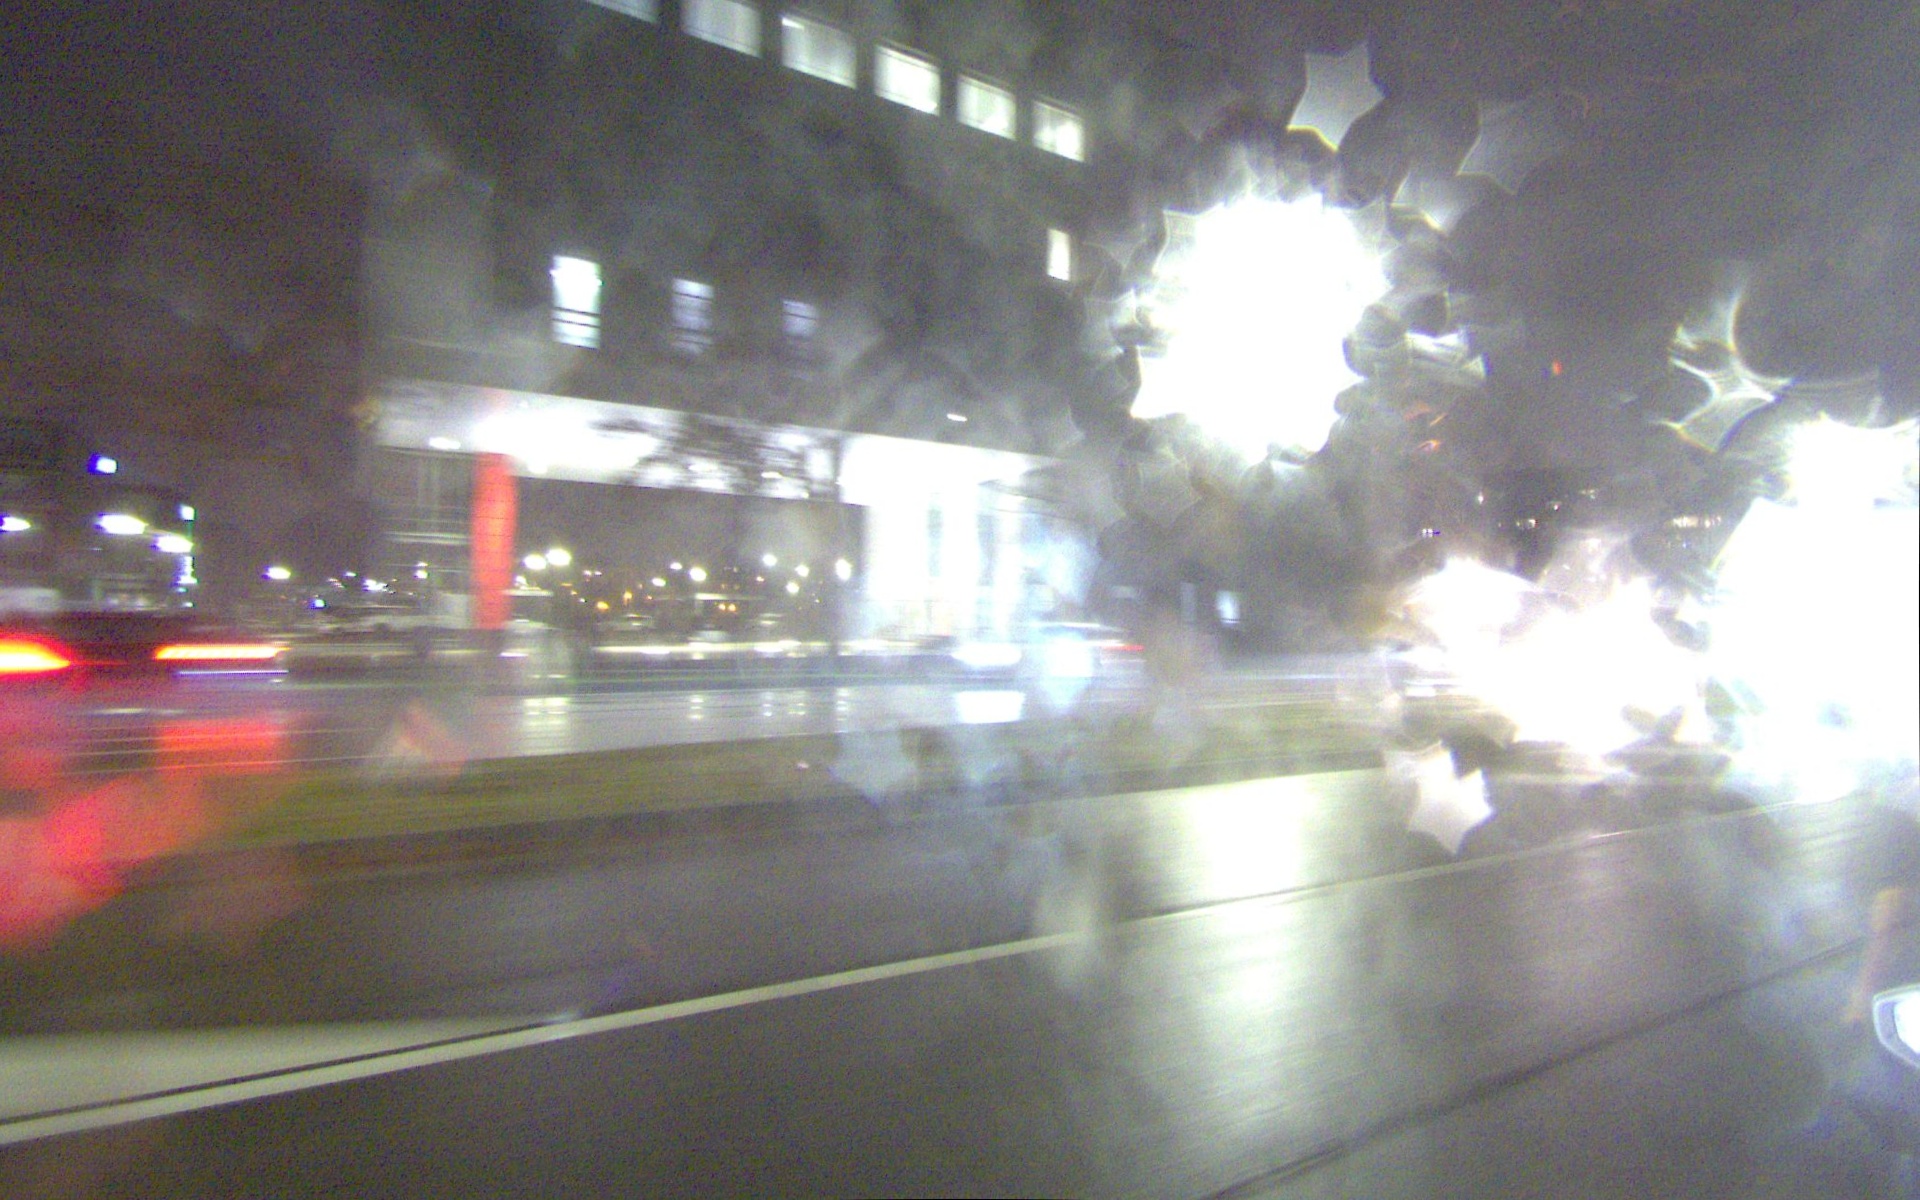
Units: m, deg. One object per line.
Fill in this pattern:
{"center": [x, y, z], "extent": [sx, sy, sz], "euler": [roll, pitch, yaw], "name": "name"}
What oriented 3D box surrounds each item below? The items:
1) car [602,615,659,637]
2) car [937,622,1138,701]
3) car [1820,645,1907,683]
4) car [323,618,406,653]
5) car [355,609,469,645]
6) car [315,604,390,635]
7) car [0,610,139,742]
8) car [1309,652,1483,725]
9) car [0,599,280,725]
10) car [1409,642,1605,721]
{"center": [-26.279, 2.089, 80.036], "extent": [3.956, 1.595, 1.893], "euler": [2, 0, -32], "name": "car"}
{"center": [1.804, 1.364, 23.037], "extent": [4.314, 1.614, 1.834], "euler": [2, 0, -30], "name": "car"}
{"center": [44.789, 3.130, 49.801], "extent": [4.497, 1.706, 2.013], "euler": [2, 0, -32], "name": "car"}
{"center": [-33.733, 2.030, 56.965], "extent": [3.955, 1.840, 1.983], "euler": [2, 0, -32], "name": "car"}
{"center": [-29.776, 1.482, 54.642], "extent": [5.367, 1.840, 1.983], "euler": [2, 0, -32], "name": "car"}
{"center": [-38.347, 1.247, 63.468], "extent": [3.955, 1.840, 1.983], "euler": [2, 0, -32], "name": "car"}
{"center": [-12.414, 0.790, 10.666], "extent": [5.498, 1.376, 1.833], "euler": [2, 0, -33], "name": "car"}
{"center": [11.076, 2.173, 25.458], "extent": [4.314, 1.614, 1.834], "euler": [2, 0, -30], "name": "car"}
{"center": [-12.449, 0.842, 14.379], "extent": [4.314, 1.614, 1.834], "euler": [2, 0, -30], "name": "car"}
{"center": [12.209, 1.755, 22.364], "extent": [4.314, 1.506, 1.834], "euler": [2, 0, -30], "name": "car"}
